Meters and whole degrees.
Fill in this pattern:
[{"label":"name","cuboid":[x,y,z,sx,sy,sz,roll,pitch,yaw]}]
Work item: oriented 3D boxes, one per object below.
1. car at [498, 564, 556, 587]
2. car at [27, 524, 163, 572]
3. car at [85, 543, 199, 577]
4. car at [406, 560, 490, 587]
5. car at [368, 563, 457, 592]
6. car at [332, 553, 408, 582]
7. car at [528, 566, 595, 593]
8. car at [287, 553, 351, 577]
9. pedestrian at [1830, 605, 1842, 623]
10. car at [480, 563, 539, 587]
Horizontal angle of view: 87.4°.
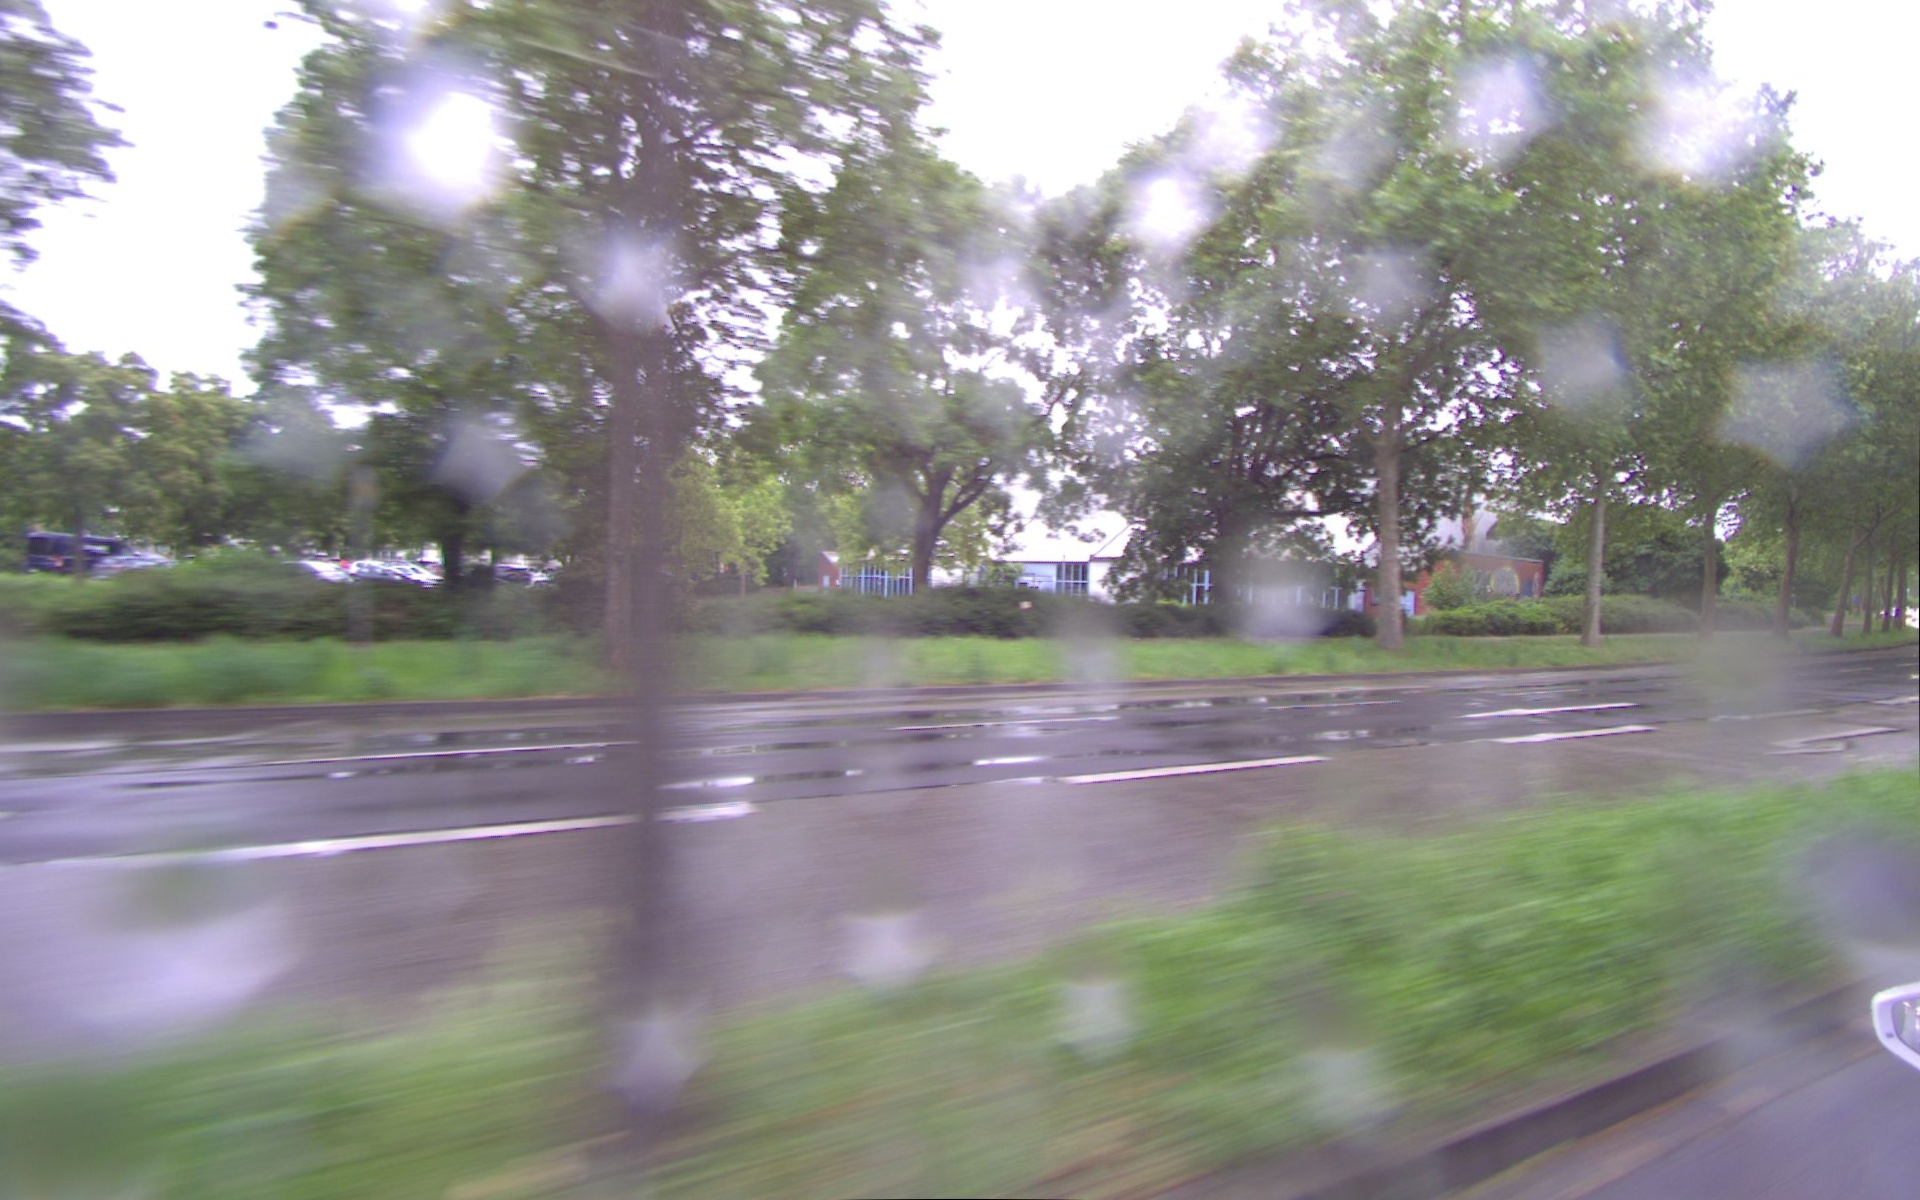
[{"label":"car","cuboid":[-39.940,-2.213,92.648,4.408,1.927,2.000,2,1,4]},{"label":"car","cuboid":[-44.191,-2.599,51.505,1.960,2.203,5.418,2,1,5]},{"label":"car","cuboid":[-41.730,-1.993,51.376,1.960,1.558,4.500,2,1,4]},{"label":"car","cuboid":[-32.991,-1.679,64.767,4.408,1.558,2.000,2,1,4]},{"label":"car","cuboid":[-33.846,-1.393,62.121,4.408,1.558,2.000,2,1,4]},{"label":"car","cuboid":[-43.417,-2.410,73.960,4.408,1.927,2.000,2,1,4]},{"label":"car","cuboid":[-31.091,-1.627,78.438,4.408,1.927,2.000,2,1,4]},{"label":"car","cuboid":[-57.191,-3.112,89.632,4.408,1.927,2.000,2,1,4]},{"label":"pedestrian","cuboid":[88.911,1.418,101.937,0.820,1.696,0.895,2,1,39]},{"label":"car","cuboid":[-40.269,-2.230,89.841,4.408,1.927,2.000,2,1,4]}]
